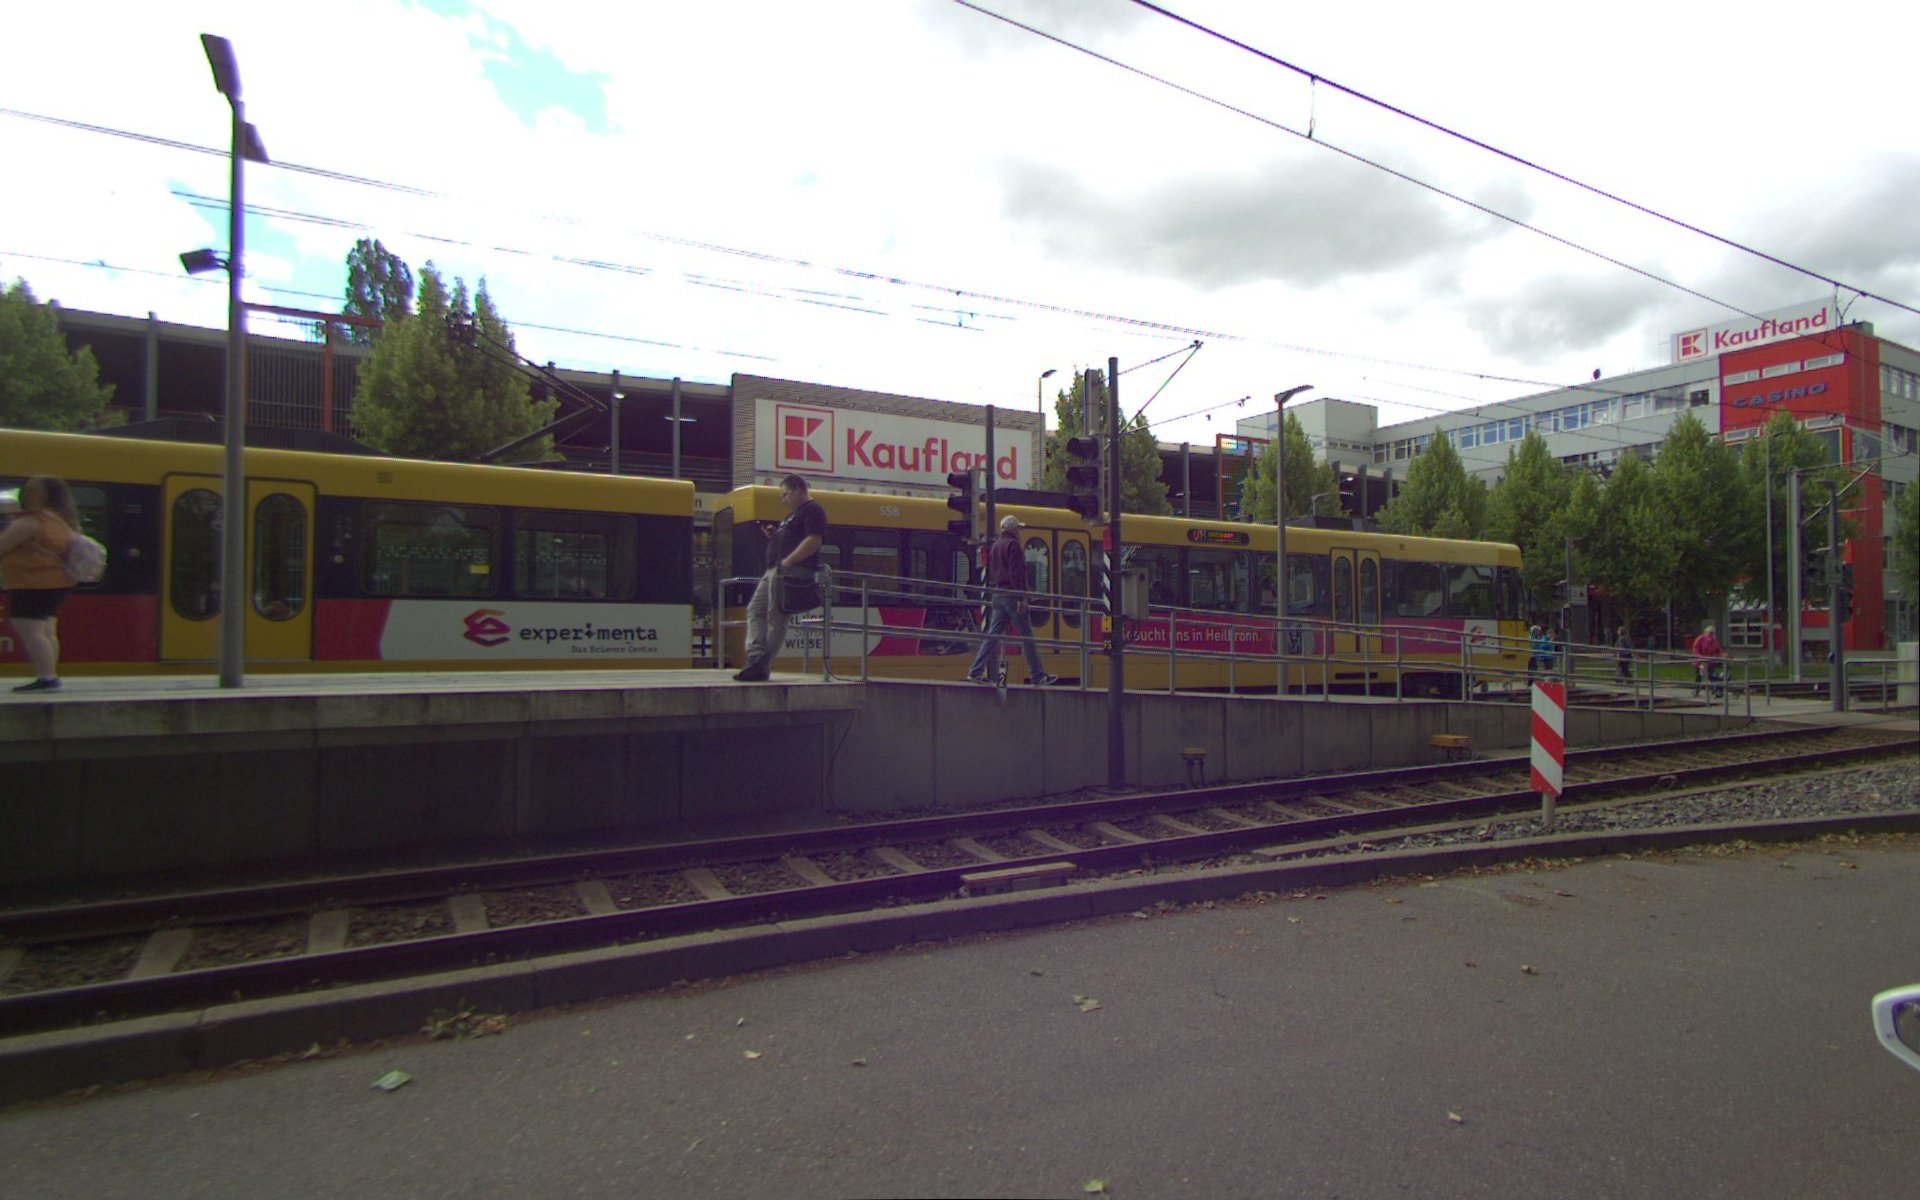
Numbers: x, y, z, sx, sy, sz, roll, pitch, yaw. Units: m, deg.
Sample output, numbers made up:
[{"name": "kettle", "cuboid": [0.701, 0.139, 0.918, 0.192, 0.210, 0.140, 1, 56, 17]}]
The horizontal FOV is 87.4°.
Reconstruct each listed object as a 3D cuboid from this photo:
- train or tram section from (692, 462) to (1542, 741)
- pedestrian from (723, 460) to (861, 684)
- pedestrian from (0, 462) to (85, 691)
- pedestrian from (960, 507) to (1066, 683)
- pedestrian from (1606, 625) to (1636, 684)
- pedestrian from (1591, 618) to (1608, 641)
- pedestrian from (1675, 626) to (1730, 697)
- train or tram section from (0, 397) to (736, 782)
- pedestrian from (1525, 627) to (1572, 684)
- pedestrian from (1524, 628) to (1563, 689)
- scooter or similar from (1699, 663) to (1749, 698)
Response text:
[{"name": "train or tram section", "cuboid": [4.379, 0.258, 19.513, 18.398, 3.879, 2.746, 1, -2, -28]}, {"name": "pedestrian", "cuboid": [-1.334, -0.188, 8.066, 0.858, 1.699, 0.746, -1, -3, 14]}, {"name": "pedestrian", "cuboid": [-5.991, -0.135, 6.474, 0.406, 1.424, 0.477, 1, -3, -31]}, {"name": "pedestrian", "cuboid": [0.527, -0.022, 10.210, 0.781, 1.699, 0.768, 1, -3, -30]}, {"name": "pedestrian", "cuboid": [18.924, 1.557, 28.761, 0.458, 1.683, 0.516, 0, -3, -19]}, {"name": "pedestrian", "cuboid": [49.828, 2.307, 78.253, 0.856, 1.717, 0.734, 1, -3, -30]}, {"name": "pedestrian", "cuboid": [17.741, 1.462, 24.011, 0.781, 1.675, 0.614, 0, -3, -8]}, {"name": "train or tram section", "cuboid": [-11.810, -0.091, 10.703, 18.399, 3.934, 2.745, 1, -2, -29]}, {"name": "pedestrian", "cuboid": [17.115, 1.610, 29.227, 0.927, 1.632, 0.712, 0, -3, -19]}, {"name": "pedestrian", "cuboid": [16.607, 1.662, 28.599, 0.645, 1.720, 0.728, 0, -2, -9]}, {"name": "scooter or similar", "cuboid": [17.826, 1.873, 23.438, 0.784, 0.778, 0.497, 0, -3, -9]}]
